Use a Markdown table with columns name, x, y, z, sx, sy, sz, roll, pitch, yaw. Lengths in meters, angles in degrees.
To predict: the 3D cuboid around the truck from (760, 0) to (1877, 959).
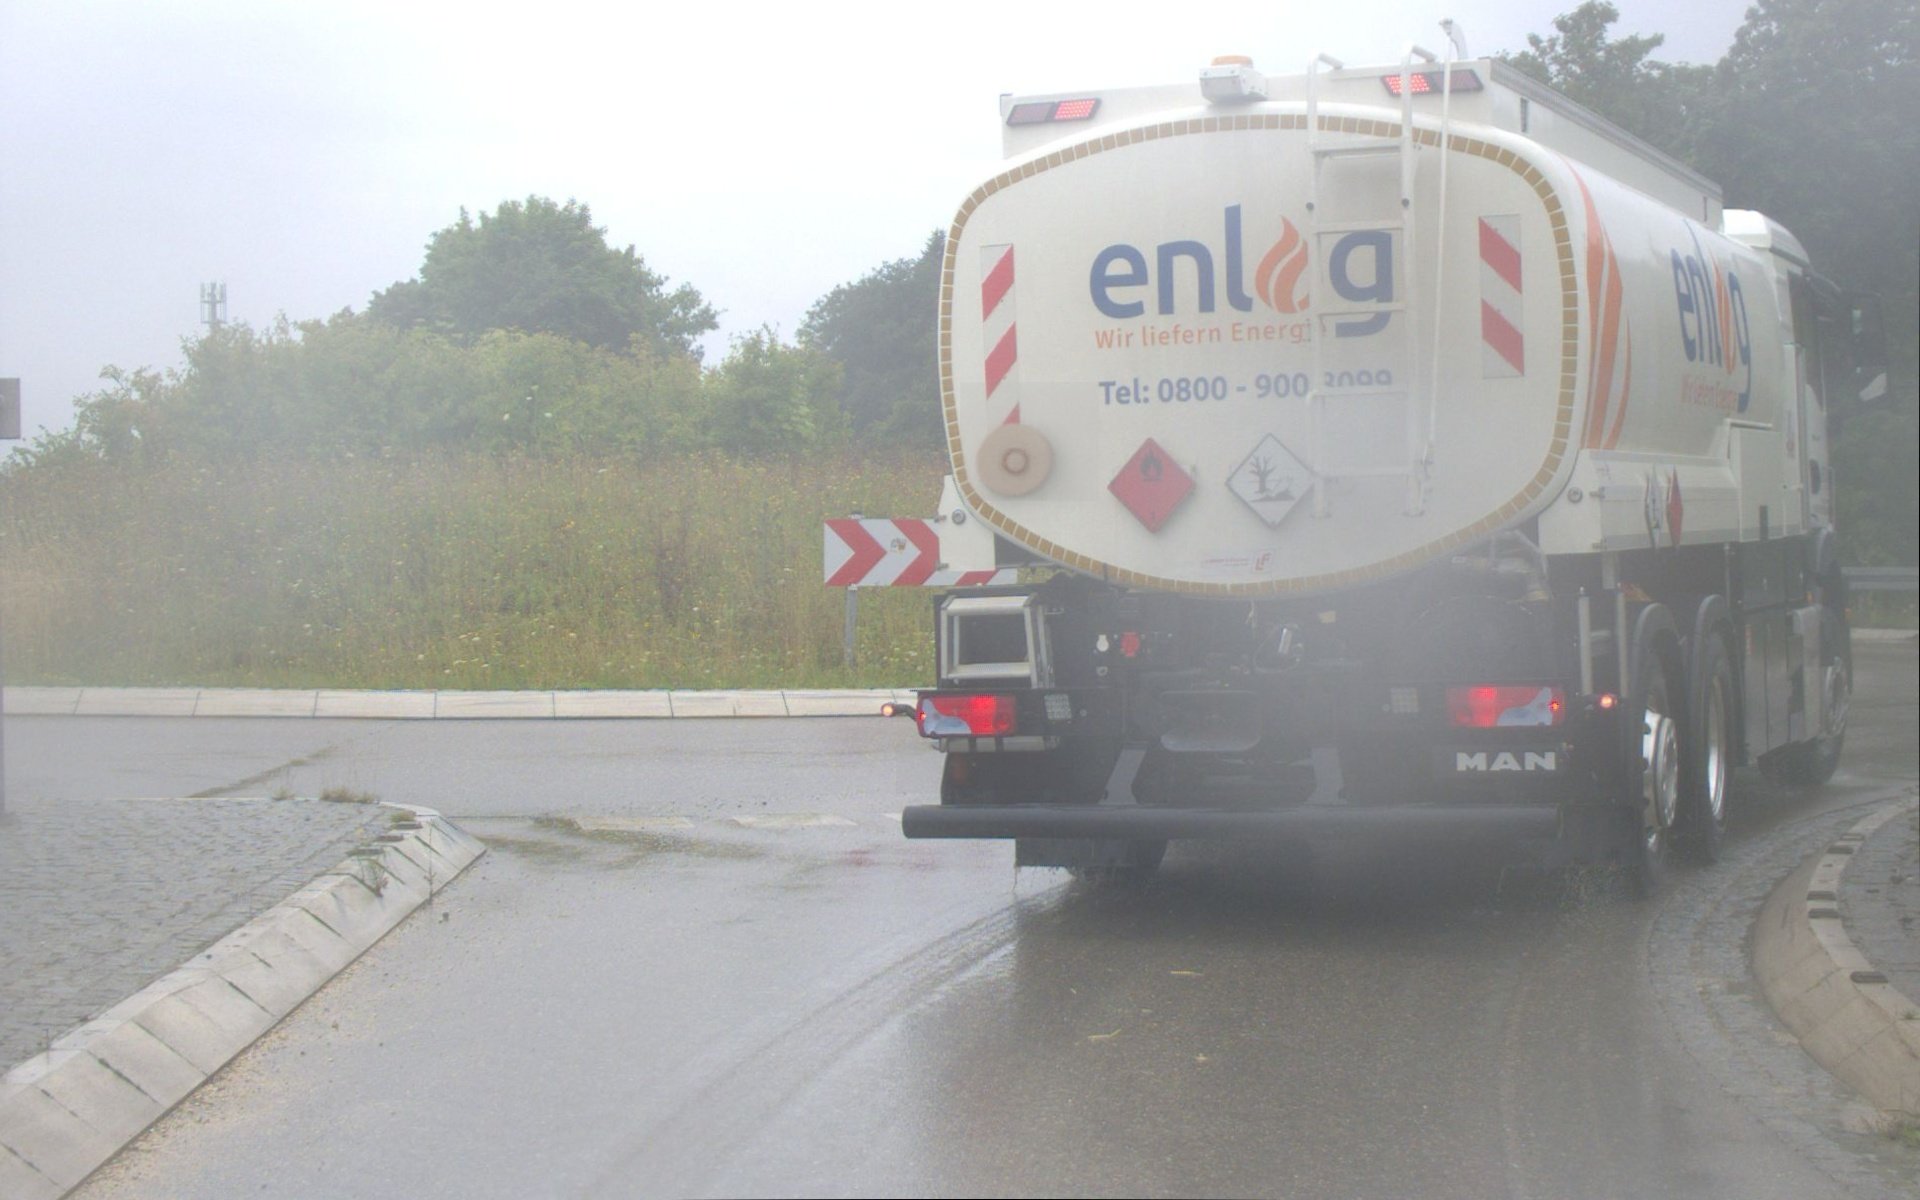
| name | x | y | z | sx | sy | sz | roll | pitch | yaw |
| --- | --- | --- | --- | --- | --- | --- | --- | --- | --- |
| truck | 2.261 | -0.796 | 16.123 | 3.042 | 3.838 | 8.813 | 1 | 1 | 21 |
